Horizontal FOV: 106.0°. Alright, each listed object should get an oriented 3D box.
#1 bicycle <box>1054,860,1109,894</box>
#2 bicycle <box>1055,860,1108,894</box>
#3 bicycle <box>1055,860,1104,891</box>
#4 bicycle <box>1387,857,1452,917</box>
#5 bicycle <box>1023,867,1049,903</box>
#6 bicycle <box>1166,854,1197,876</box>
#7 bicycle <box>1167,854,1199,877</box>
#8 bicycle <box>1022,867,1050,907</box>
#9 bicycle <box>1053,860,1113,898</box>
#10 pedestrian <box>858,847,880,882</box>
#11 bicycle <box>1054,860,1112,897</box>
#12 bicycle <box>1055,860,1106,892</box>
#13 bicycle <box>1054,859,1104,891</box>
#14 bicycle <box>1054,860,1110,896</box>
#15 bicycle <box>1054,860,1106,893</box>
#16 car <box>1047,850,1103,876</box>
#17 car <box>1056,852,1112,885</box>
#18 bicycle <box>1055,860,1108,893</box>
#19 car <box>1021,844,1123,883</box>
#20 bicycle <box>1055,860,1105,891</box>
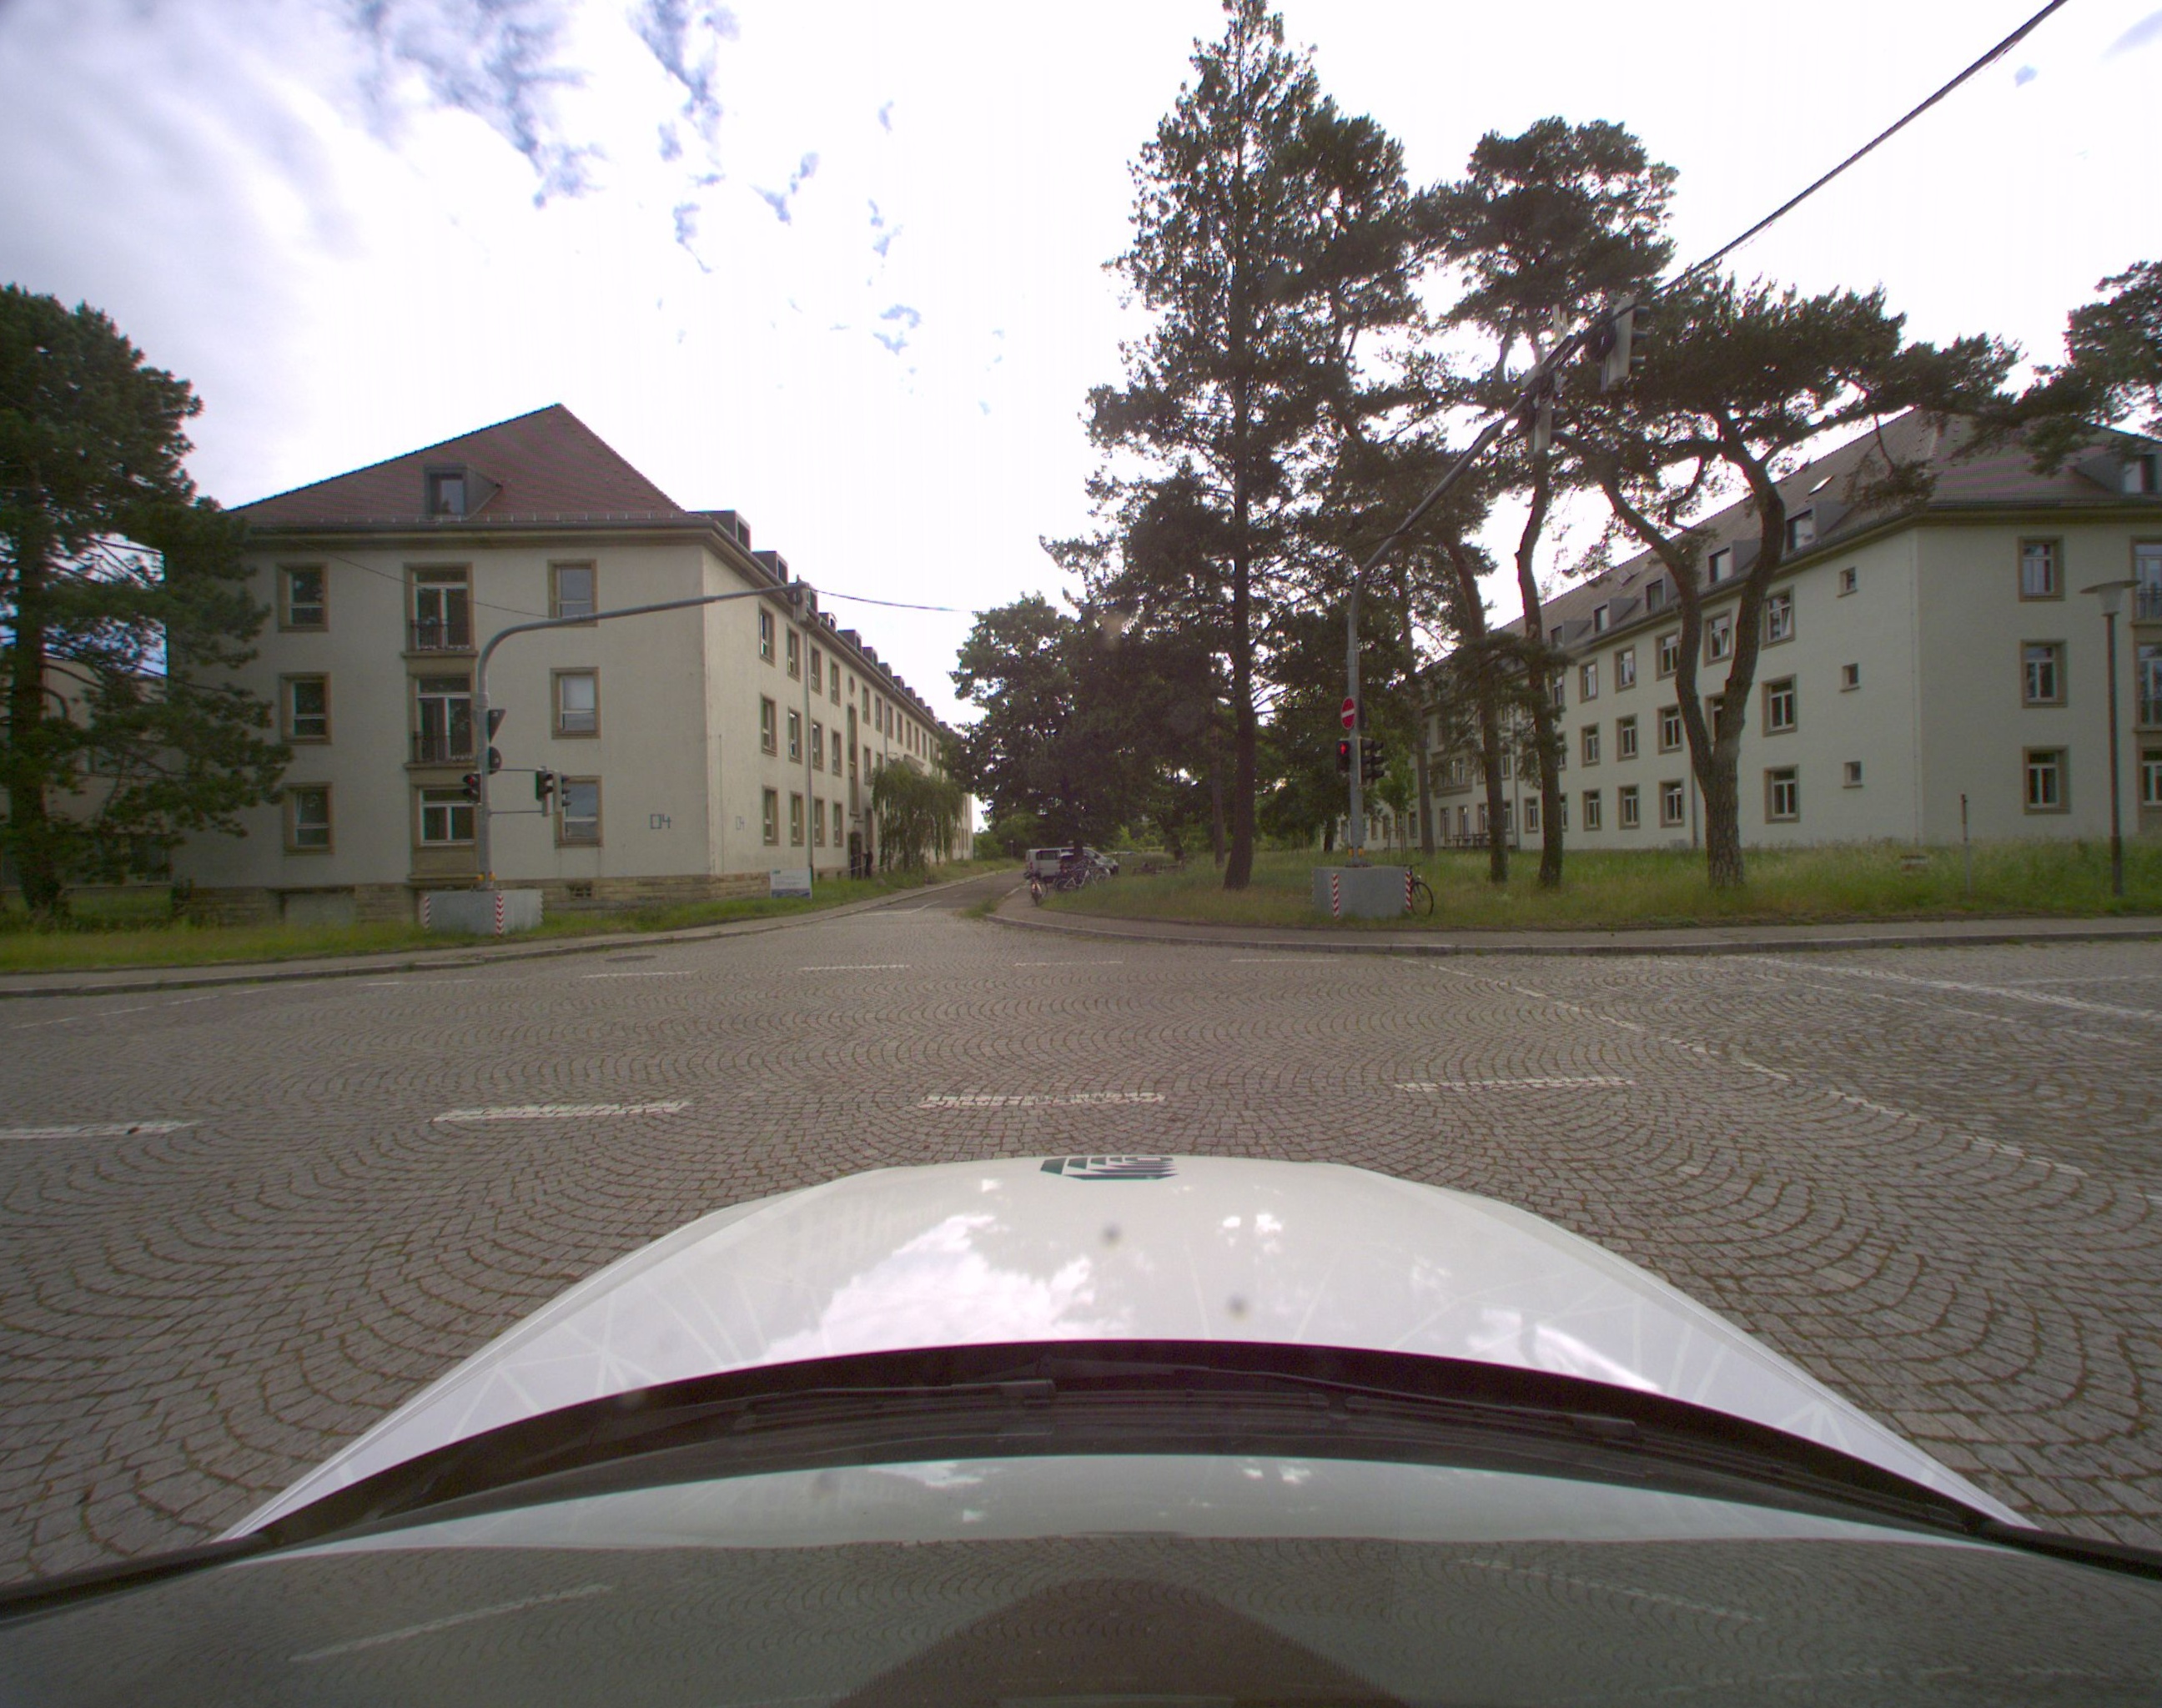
[{"bbox_3d":[0.004,0.844,30.004,1.977,1.248,0.624,0,-1,-3],"label":"bicycle"},{"bbox_3d":[0.000,0.847,30.637,1.977,1.248,0.624,0,-1,-3],"label":"bicycle"},{"bbox_3d":[-0.082,0.864,33.246,1.977,1.248,0.624,0,-1,-3],"label":"bicycle"},{"bbox_3d":[6.316,0.593,15.273,0.578,0.970,1.679,-3,2,4],"label":"bicycle"},{"bbox_3d":[-1.427,0.976,26.145,0.619,1.082,1.679,0,0,4],"label":"bicycle"},{"bbox_3d":[5.239,0.579,42.467,1.543,1.124,0.401,-1,0,1],"label":"bicycle"},{"bbox_3d":[5.181,0.575,41.234,1.543,1.124,0.401,-1,0,1],"label":"bicycle"},{"bbox_3d":[-1.329,0.948,24.192,0.620,1.113,1.990,0,0,3],"label":"bicycle"},{"bbox_3d":[0.058,0.828,27.591,1.977,1.248,0.624,0,-1,-3],"label":"bicycle"},{"bbox_3d":[-11.271,0.550,43.322,0.833,1.781,0.942,-1,0,5],"label":"pedestrian"},{"bbox_3d":[0.048,0.832,28.219,1.977,1.248,0.624,0,-1,-3],"label":"bicycle"},{"bbox_3d":[-0.027,0.858,32.240,1.977,1.248,0.624,0,-1,-3],"label":"bicycle"},{"bbox_3d":[-0.093,0.868,33.905,1.977,1.248,0.624,-3,-1,-3],"label":"bicycle"},{"bbox_3d":[0.019,0.838,29.145,1.977,1.248,0.624,0,-1,-3],"label":"bicycle"},{"bbox_3d":[-0.034,0.854,31.565,1.977,1.248,0.624,0,-1,-3],"label":"bicycle"},{"bbox_3d":[-0.465,0.663,59.568,4.021,1.718,1.680,-2,0,-2],"label":"car"},{"bbox_3d":[0.153,0.756,42.215,2.839,1.558,1.471,-2,1,-1],"label":"car"},{"bbox_3d":[0.007,0.851,31.162,1.977,1.248,0.624,0,-1,-3],"label":"bicycle"},{"bbox_3d":[-0.509,0.527,45.682,5.314,1.916,2.139,-2,0,-15],"label":"car"},{"bbox_3d":[-0.058,0.861,32.752,1.977,1.248,0.624,0,-1,-3],"label":"bicycle"}]
